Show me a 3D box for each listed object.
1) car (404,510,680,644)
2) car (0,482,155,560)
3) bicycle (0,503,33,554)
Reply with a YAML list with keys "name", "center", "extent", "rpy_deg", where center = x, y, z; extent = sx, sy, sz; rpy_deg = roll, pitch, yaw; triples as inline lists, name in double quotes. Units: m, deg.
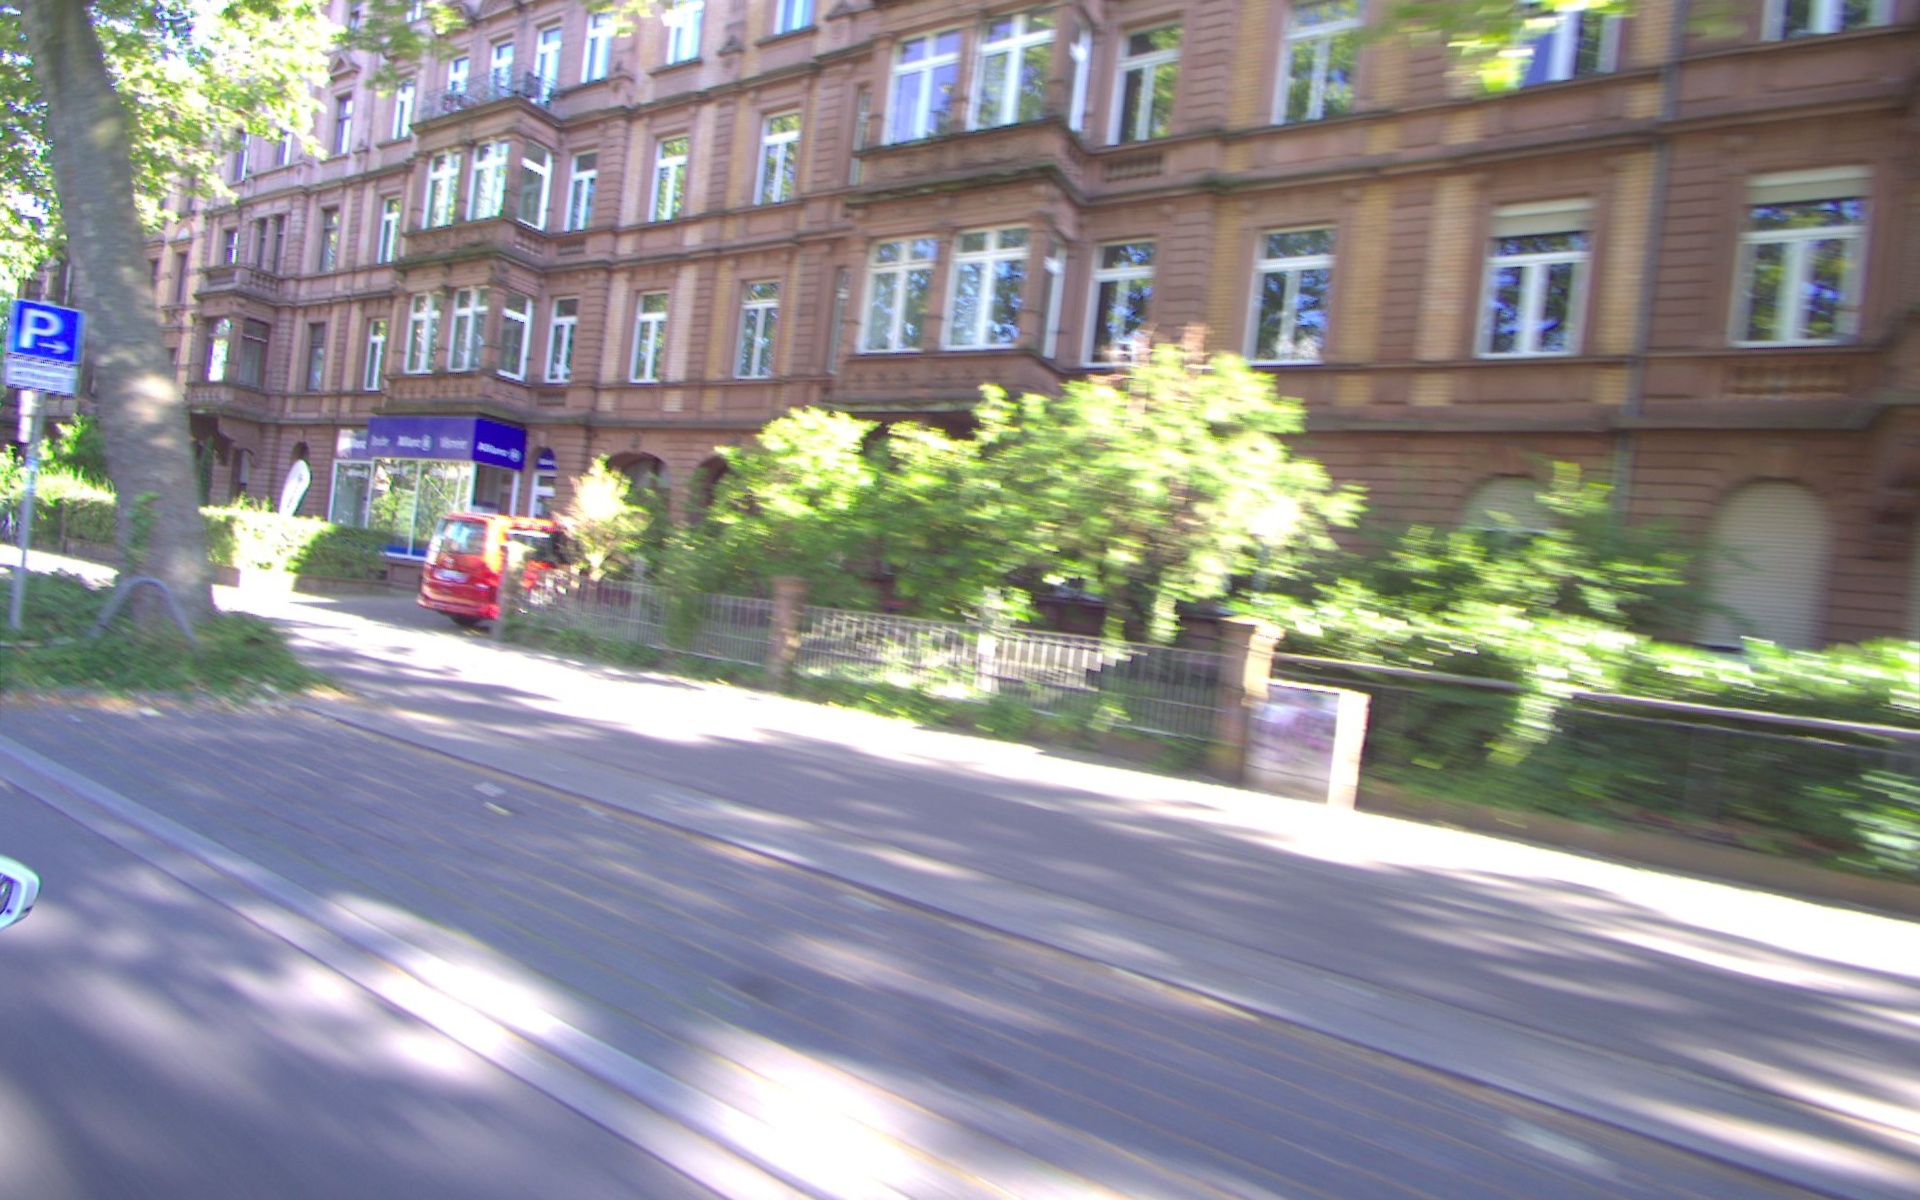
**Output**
- name: "car"
  center: [-7.437, -0.325, 18.307]
  extent: [1.966, 2.040, 4.179]
  rpy_deg: [6, 1, 30]
- name: "car"
  center: [-29.471, -2.587, 32.810]
  extent: [1.883, 2.039, 4.576]
  rpy_deg: [6, 0, 32]
- name: "bicycle"
  center: [-25.635, -1.937, 27.227]
  extent: [1.740, 1.263, 0.338]
  rpy_deg: [6, -3, 37]
